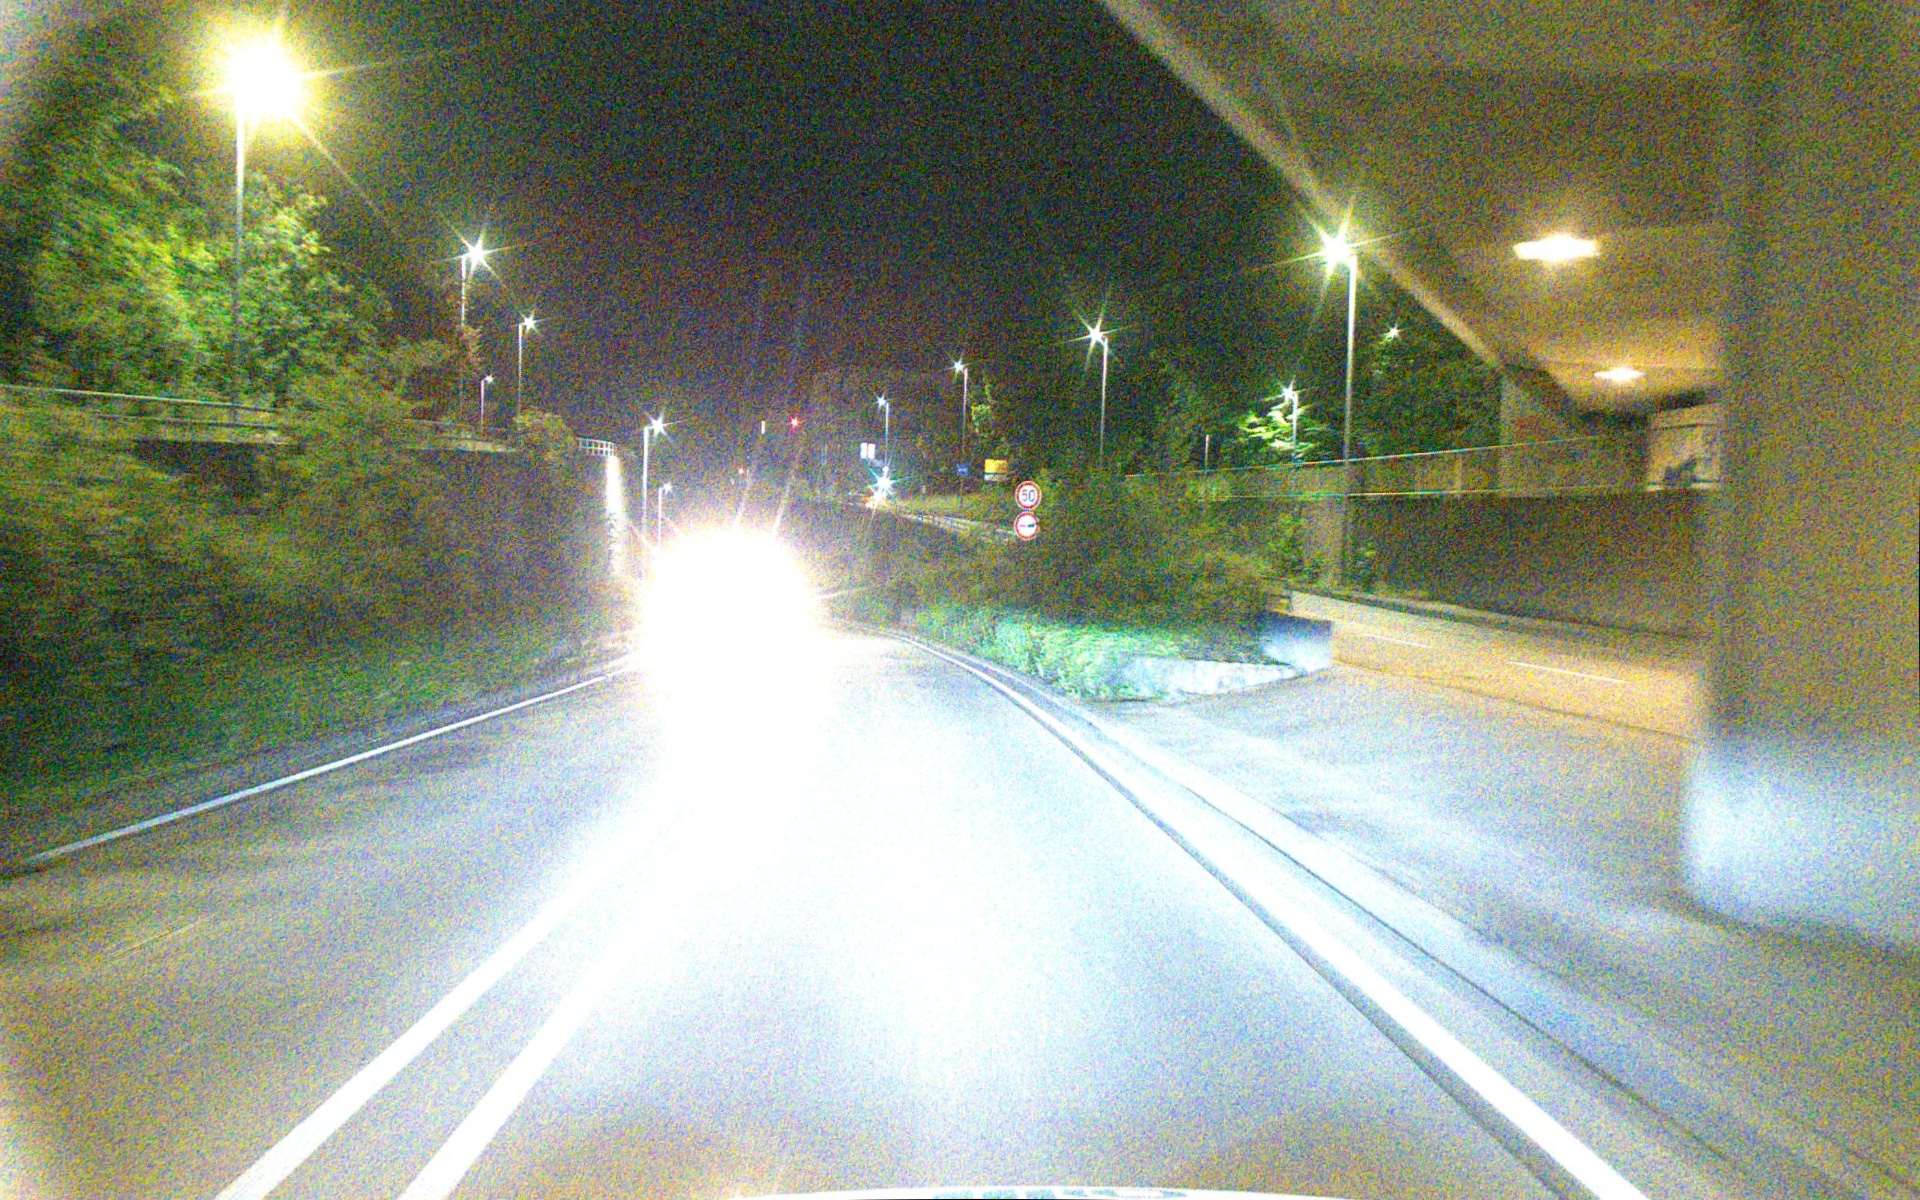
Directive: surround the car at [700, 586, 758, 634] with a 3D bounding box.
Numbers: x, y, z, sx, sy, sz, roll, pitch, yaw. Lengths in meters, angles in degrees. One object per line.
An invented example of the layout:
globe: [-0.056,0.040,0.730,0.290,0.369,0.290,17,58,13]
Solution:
car: [-7.607,0.311,54.642,1.823,1.536,3.994,0,0,-7]
